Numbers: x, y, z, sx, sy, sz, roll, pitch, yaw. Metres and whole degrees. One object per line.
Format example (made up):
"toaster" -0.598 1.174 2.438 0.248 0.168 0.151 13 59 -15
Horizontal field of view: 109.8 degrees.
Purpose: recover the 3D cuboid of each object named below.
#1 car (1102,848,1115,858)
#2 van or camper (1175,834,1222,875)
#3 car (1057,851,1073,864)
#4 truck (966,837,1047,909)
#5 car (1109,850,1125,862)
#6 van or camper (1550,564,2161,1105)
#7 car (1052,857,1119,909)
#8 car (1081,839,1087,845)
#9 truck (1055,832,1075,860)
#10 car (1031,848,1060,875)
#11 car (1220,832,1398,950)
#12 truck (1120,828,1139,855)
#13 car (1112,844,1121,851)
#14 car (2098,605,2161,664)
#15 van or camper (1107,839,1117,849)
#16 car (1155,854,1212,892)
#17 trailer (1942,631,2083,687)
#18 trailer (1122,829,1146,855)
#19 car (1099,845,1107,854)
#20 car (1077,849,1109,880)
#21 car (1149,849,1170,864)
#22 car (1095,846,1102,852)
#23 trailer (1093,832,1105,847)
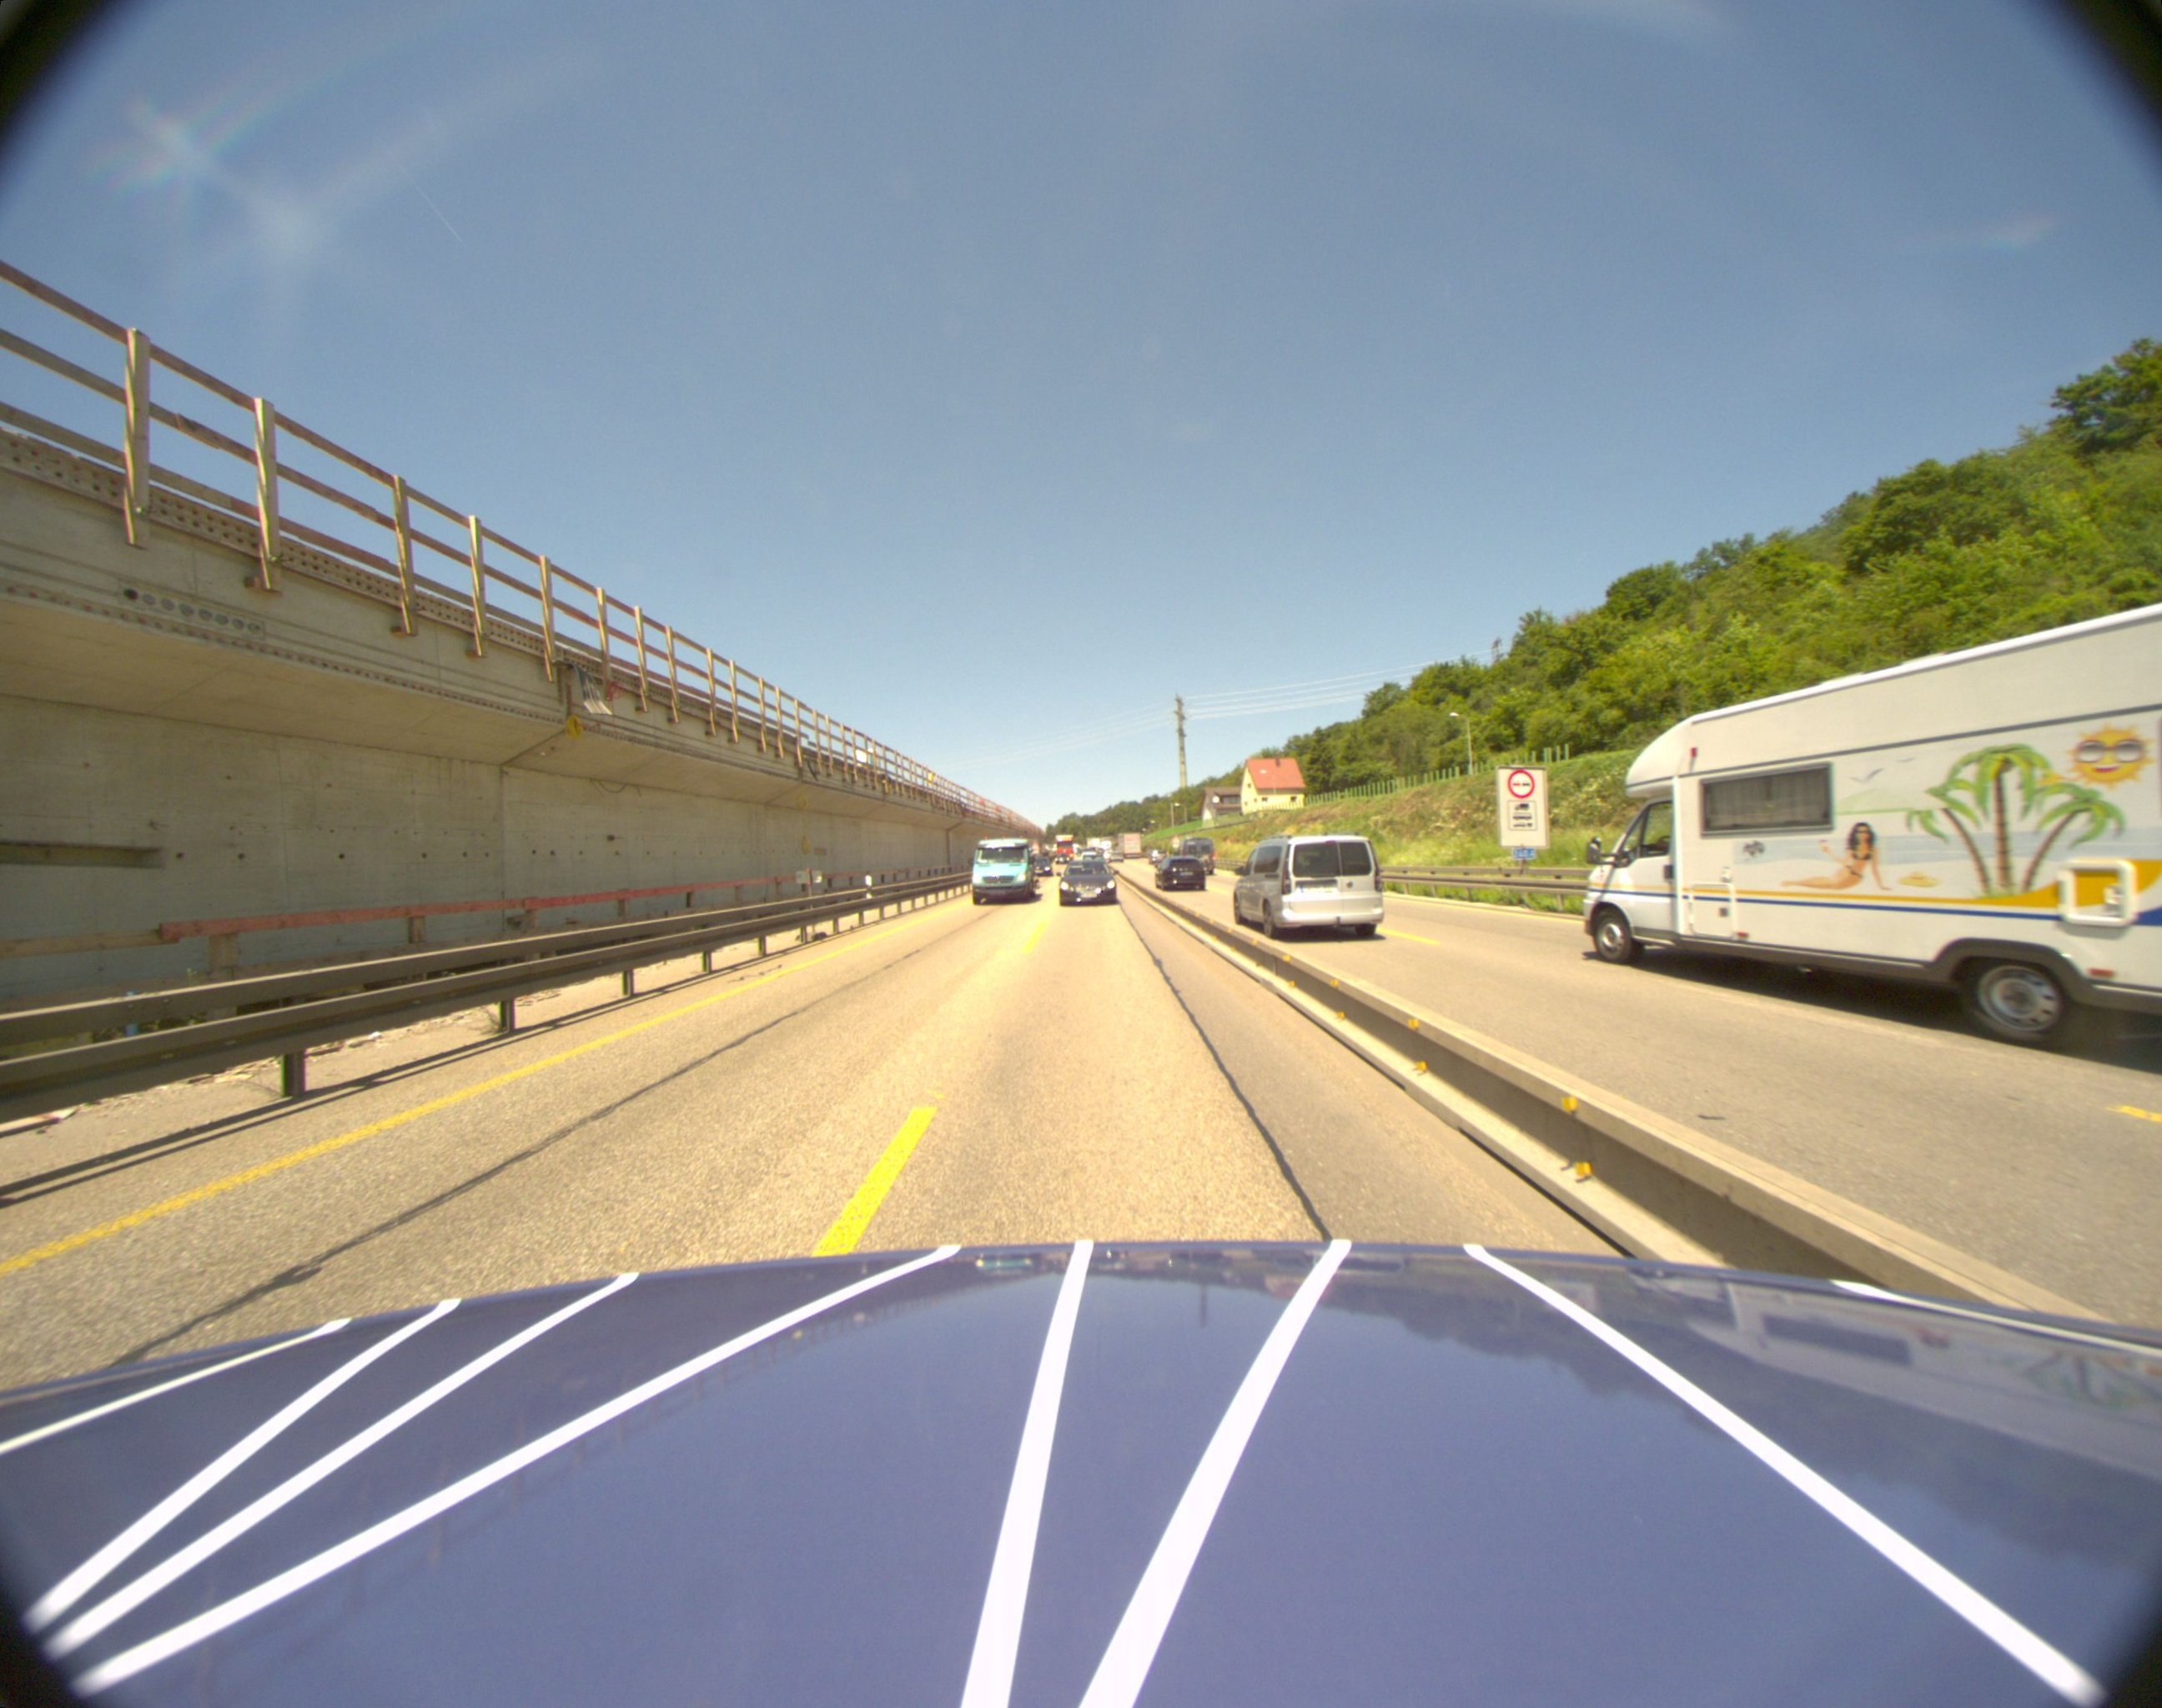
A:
"car" 4.373 -0.191 121.650 1.807 1.455 4.000 -2 0 0
"van or camper" 7.880 0.002 51.781 2.145 2.558 6.564 -2 0 0
"car" -2.098 0.381 99.369 1.883 1.532 4.280 -2 1 0
"truck" -2.659 0.550 29.109 2.139 2.344 7.432 -2 1 1
"car" 4.715 0.239 99.825 1.834 1.425 4.629 -1 0 0
"van or camper" 7.260 -0.142 6.426 2.297 3.048 6.923 -2 0 0
"car" 0.180 0.899 25.487 1.998 1.441 4.601 -2 1 1
"car" 0.902 -4.066 258.007 1.999 2.002 4.165 -2 1 -1
"truck" -2.441 -1.284 119.299 2.750 4.222 9.093 -2 1 0
"car" -2.573 0.549 56.355 1.885 1.805 4.249 -2 1 0
"car" 4.100 0.590 14.612 1.842 1.817 5.040 -2 0 0
"truck" 8.411 -2.198 133.220 2.627 4.371 10.383 -2 1 1
"car" 8.449 -1.605 180.136 1.998 1.499 5.299 -2 1 1
"car" 37.933 -7.658 25.234 2.000 1.646 4.548 -2 1 -9
"van or camper" 8.408 -2.697 205.757 2.356 2.619 6.901 -2 1 1
"car" 4.373 0.764 33.109 1.847 1.467 4.834 -2 0 0
"trailer" 37.166 -7.741 30.421 1.908 1.507 3.034 -2 1 -10
"trailer" 8.569 -1.923 123.683 2.937 3.966 8.704 -2 1 -1
"car" 4.958 -1.079 172.398 1.854 1.879 4.501 -2 0 1
"car" 0.830 0.638 49.085 1.884 1.805 4.250 -2 1 2
"car" 8.514 0.242 82.793 1.777 1.573 4.285 -3 0 0
"car" 4.666 -1.376 204.628 1.875 1.674 4.000 -1 1 1
"trailer" 5.745 -4.702 244.254 3.111 4.416 14.625 -2 1 0
